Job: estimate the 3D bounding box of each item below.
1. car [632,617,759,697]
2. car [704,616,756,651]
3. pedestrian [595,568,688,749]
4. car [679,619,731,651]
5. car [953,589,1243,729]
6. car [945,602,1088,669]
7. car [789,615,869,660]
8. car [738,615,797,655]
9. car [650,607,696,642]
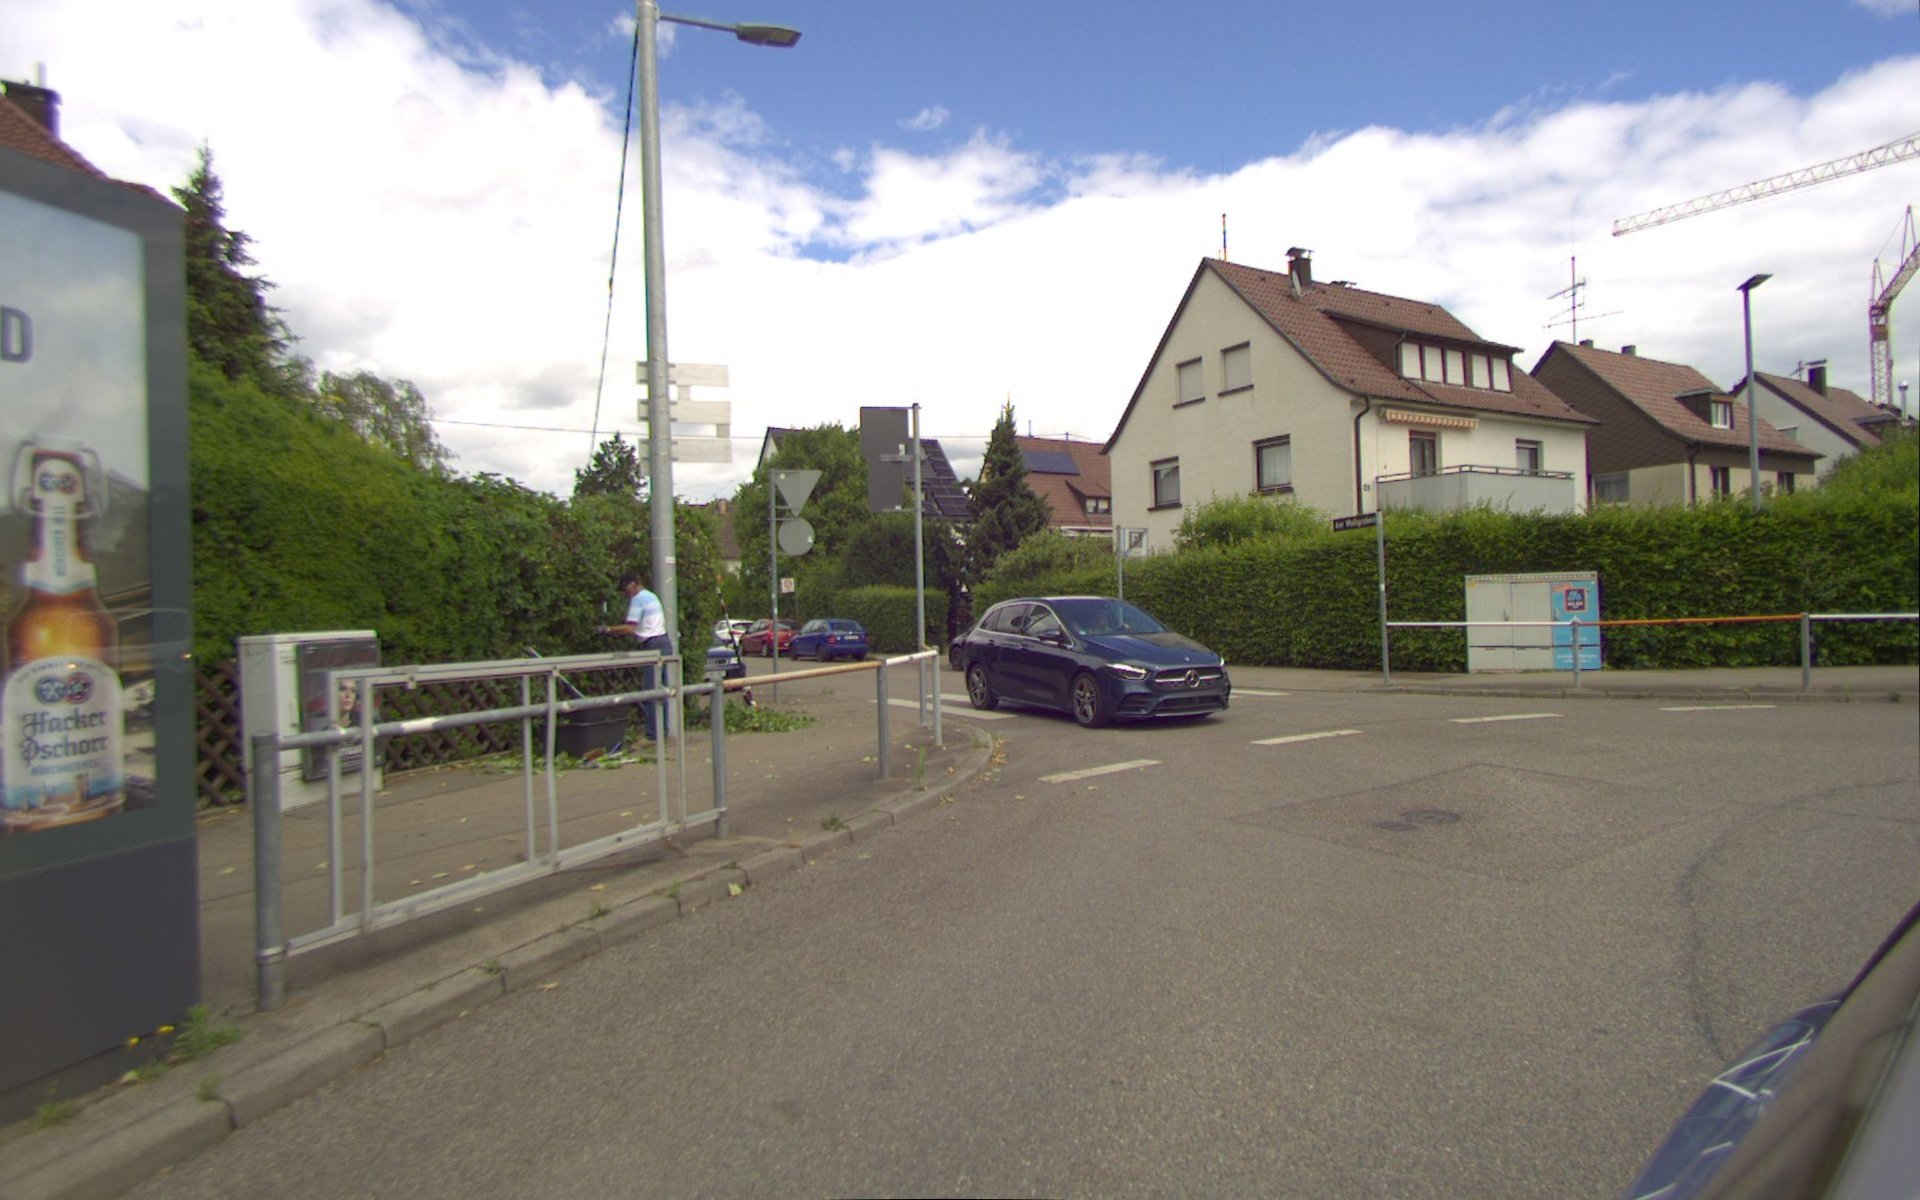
[{"bbox_3d":[-5.512,1.136,20.791,1.521,1.365,3.788,-5,0,-30],"label":"car"},{"bbox_3d":[-9.973,1.419,43.752,1.307,1.437,3.339,-1,0,-29],"label":"car"},{"bbox_3d":[-3.067,0.550,9.770,0.585,1.677,0.652,-1,-1,12],"label":"pedestrian"},{"bbox_3d":[-12.053,1.625,47.642,1.512,1.407,3.433,-1,0,-29],"label":"car"},{"bbox_3d":[1.554,0.658,13.105,1.551,1.467,4.326,-1,0,-26],"label":"car"},{"bbox_3d":[1.293,0.866,24.523,1.675,1.473,3.618,-1,-2,-31],"label":"car"},{"bbox_3d":[-4.528,1.247,34.701,1.538,1.384,3.443,-1,0,-29],"label":"car"},{"bbox_3d":[-7.561,1.334,39.663,1.307,1.437,3.214,-1,0,-29],"label":"car"},{"bbox_3d":[-14.925,1.253,52.608,1.512,1.708,3.433,-1,0,-29],"label":"car"}]
